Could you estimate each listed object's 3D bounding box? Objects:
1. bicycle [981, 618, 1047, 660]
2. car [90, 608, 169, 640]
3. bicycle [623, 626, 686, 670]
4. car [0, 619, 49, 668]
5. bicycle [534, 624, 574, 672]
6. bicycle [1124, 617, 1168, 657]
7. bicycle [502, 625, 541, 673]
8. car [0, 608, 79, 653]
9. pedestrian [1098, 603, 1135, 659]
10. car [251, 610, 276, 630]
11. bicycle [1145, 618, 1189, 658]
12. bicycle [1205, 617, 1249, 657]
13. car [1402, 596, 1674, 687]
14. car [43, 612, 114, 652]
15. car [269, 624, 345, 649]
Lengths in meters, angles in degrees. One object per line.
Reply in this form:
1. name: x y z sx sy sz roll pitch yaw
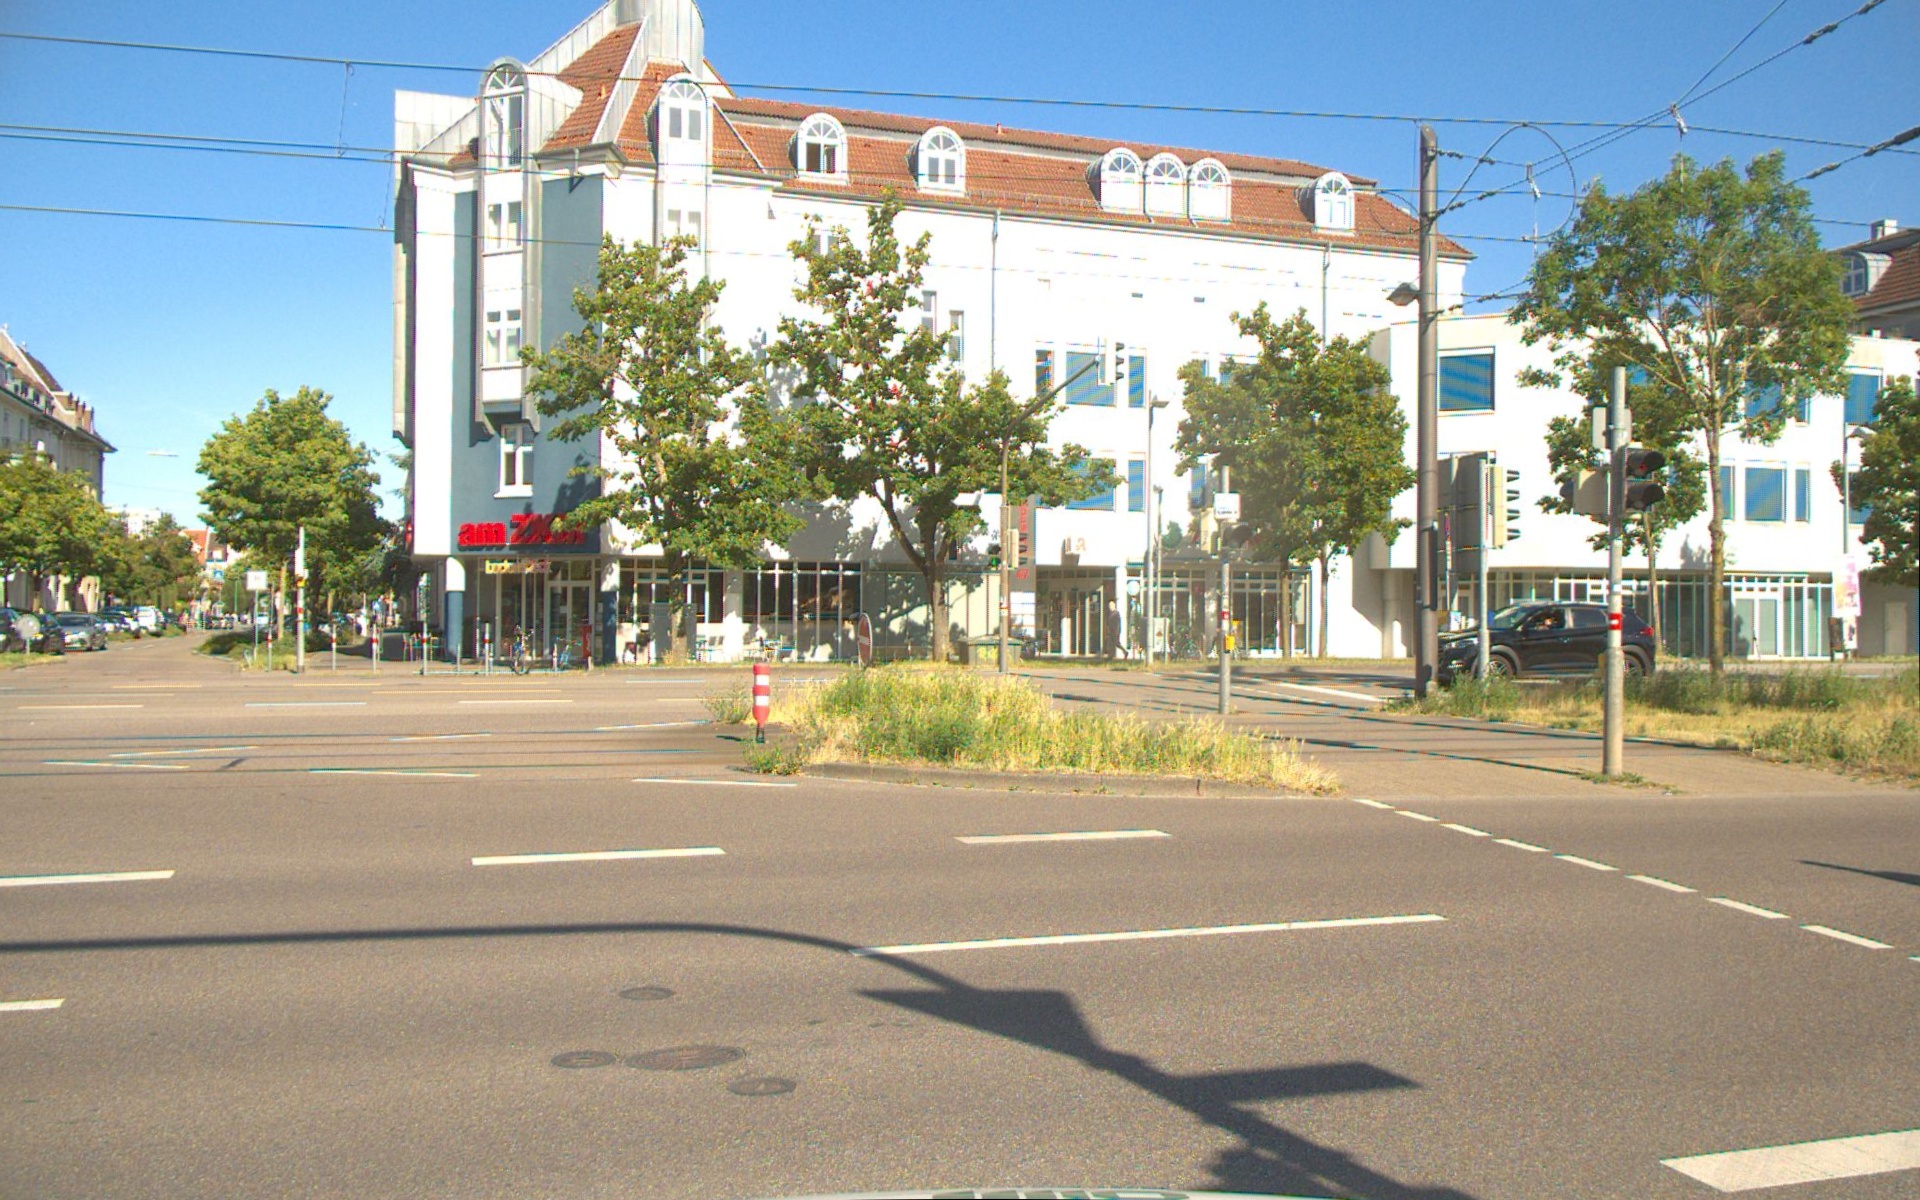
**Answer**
1. bicycle: 1.555 1.119 47.701 1.839 1.203 0.558 0 -1 -24
2. car: -54.980 1.631 109.626 4.442 2.049 1.986 1 -2 -22
3. bicycle: -7.395 1.165 40.080 1.483 1.045 0.472 0 -1 -9
4. car: -30.276 1.328 52.142 1.660 1.457 4.381 3 -2 -15
5. bicycle: -9.224 1.082 37.591 0.467 1.045 1.500 0 -1 -31
6. bicycle: 5.649 1.106 50.404 0.552 1.203 1.858 0 -1 -20
7. bicycle: -9.775 1.076 36.845 0.466 1.045 1.501 0 -1 -30
8. car: -32.281 1.079 57.835 1.661 1.457 4.379 3 -2 -17
9. pedestrian: 4.874 0.958 51.556 0.975 1.753 0.650 0 -1 -21
10. car: -68.864 1.987 163.564 1.963 1.787 4.494 1 -2 -19
11. bicycle: 6.385 1.146 50.993 0.552 1.203 1.858 0 -1 -20
12. bicycle: 8.256 1.136 51.223 0.551 1.203 1.860 0 -1 -17
13. car: 10.786 0.759 31.007 4.419 1.638 1.995 0 -1 -10
14. car: -35.100 1.264 65.931 1.662 1.457 4.377 3 -2 -18
15. car: -33.381 1.889 84.642 3.516 1.245 1.720 1 -2 -21
